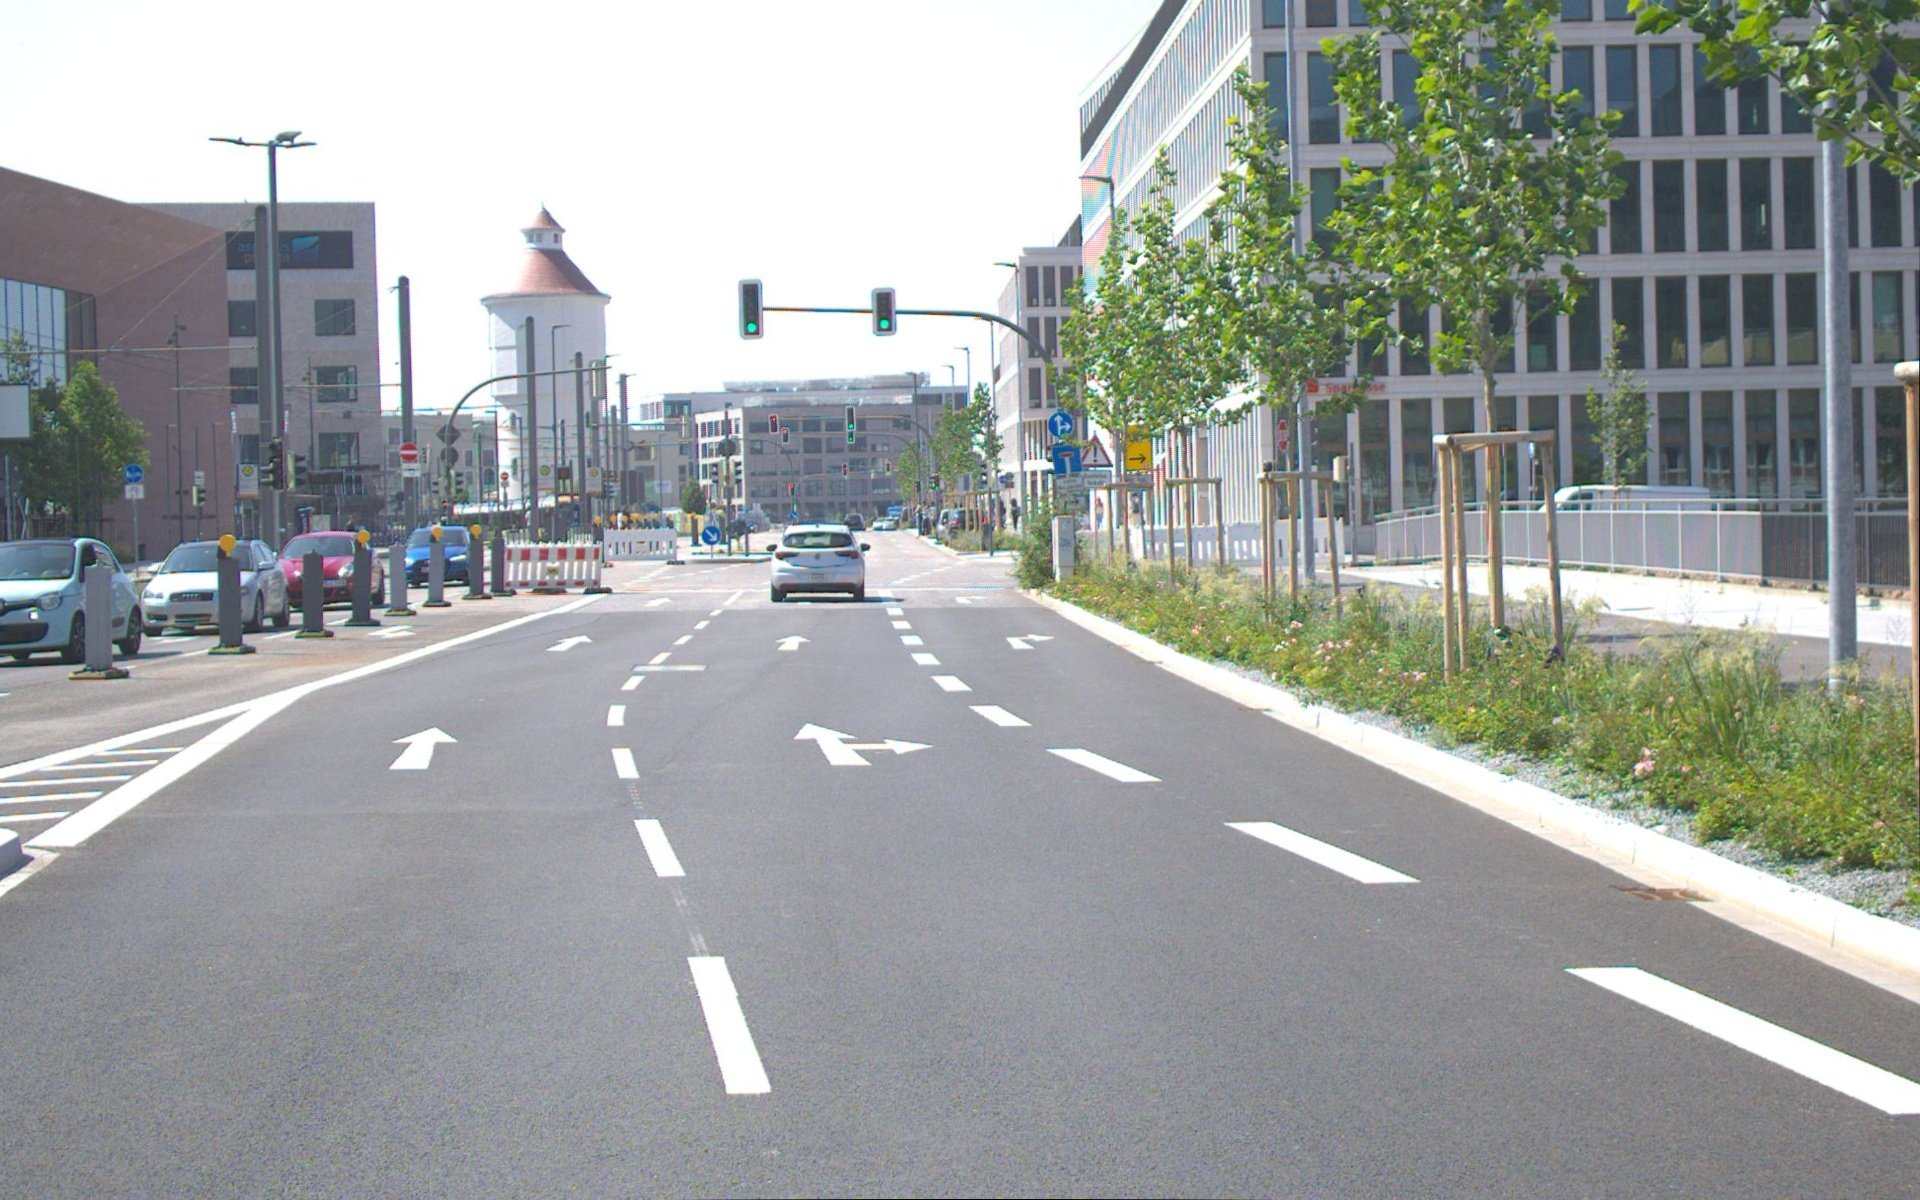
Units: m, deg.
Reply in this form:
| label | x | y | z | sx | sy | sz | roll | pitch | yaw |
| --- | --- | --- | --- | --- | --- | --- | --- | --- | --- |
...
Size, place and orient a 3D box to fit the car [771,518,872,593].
| label | x | y | z | sx | sy | sz | roll | pitch | yaw |
| --- | --- | --- | --- | --- | --- | --- | --- | --- | --- |
| car | -2.635 | -0.851 | 65.867 | 1.771 | 1.390 | 3.532 | 0 | 0 | 0 |

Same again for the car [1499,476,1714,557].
| label | x | y | z | sx | sy | sz | roll | pitch | yaw |
| --- | --- | --- | --- | --- | --- | --- | --- | --- | --- |
| car | 18.955 | -2.452 | 100.951 | 5.836 | 2.262 | 2.147 | 1 | 2 | -1 |

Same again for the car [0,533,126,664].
| label | x | y | z | sx | sy | sz | roll | pitch | yaw |
| --- | --- | --- | --- | --- | --- | --- | --- | --- | --- |
| car | -11.595 | -0.020 | 43.074 | 1.580 | 1.525 | 3.621 | -3 | 1 | -4 |

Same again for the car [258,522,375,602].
| label | x | y | z | sx | sy | sz | roll | pitch | yaw |
| --- | --- | --- | --- | --- | --- | --- | --- | --- | --- |
| car | -12.193 | -0.744 | 65.318 | 1.580 | 1.411 | 4.000 | -2 | 1 | -2 |

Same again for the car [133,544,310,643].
| label | x | y | z | sx | sy | sz | roll | pitch | yaw |
| --- | --- | --- | --- | --- | --- | --- | --- | --- | --- |
| car | -11.429 | -0.132 | 53.455 | 1.580 | 1.411 | 4.296 | -2 | 1 | 3 |

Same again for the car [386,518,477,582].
| label | x | y | z | sx | sy | sz | roll | pitch | yaw |
| --- | --- | --- | --- | --- | --- | --- | --- | --- | --- |
| car | -12.582 | -1.212 | 82.086 | 1.628 | 1.422 | 4.291 | -2 | 2 | -2 |
